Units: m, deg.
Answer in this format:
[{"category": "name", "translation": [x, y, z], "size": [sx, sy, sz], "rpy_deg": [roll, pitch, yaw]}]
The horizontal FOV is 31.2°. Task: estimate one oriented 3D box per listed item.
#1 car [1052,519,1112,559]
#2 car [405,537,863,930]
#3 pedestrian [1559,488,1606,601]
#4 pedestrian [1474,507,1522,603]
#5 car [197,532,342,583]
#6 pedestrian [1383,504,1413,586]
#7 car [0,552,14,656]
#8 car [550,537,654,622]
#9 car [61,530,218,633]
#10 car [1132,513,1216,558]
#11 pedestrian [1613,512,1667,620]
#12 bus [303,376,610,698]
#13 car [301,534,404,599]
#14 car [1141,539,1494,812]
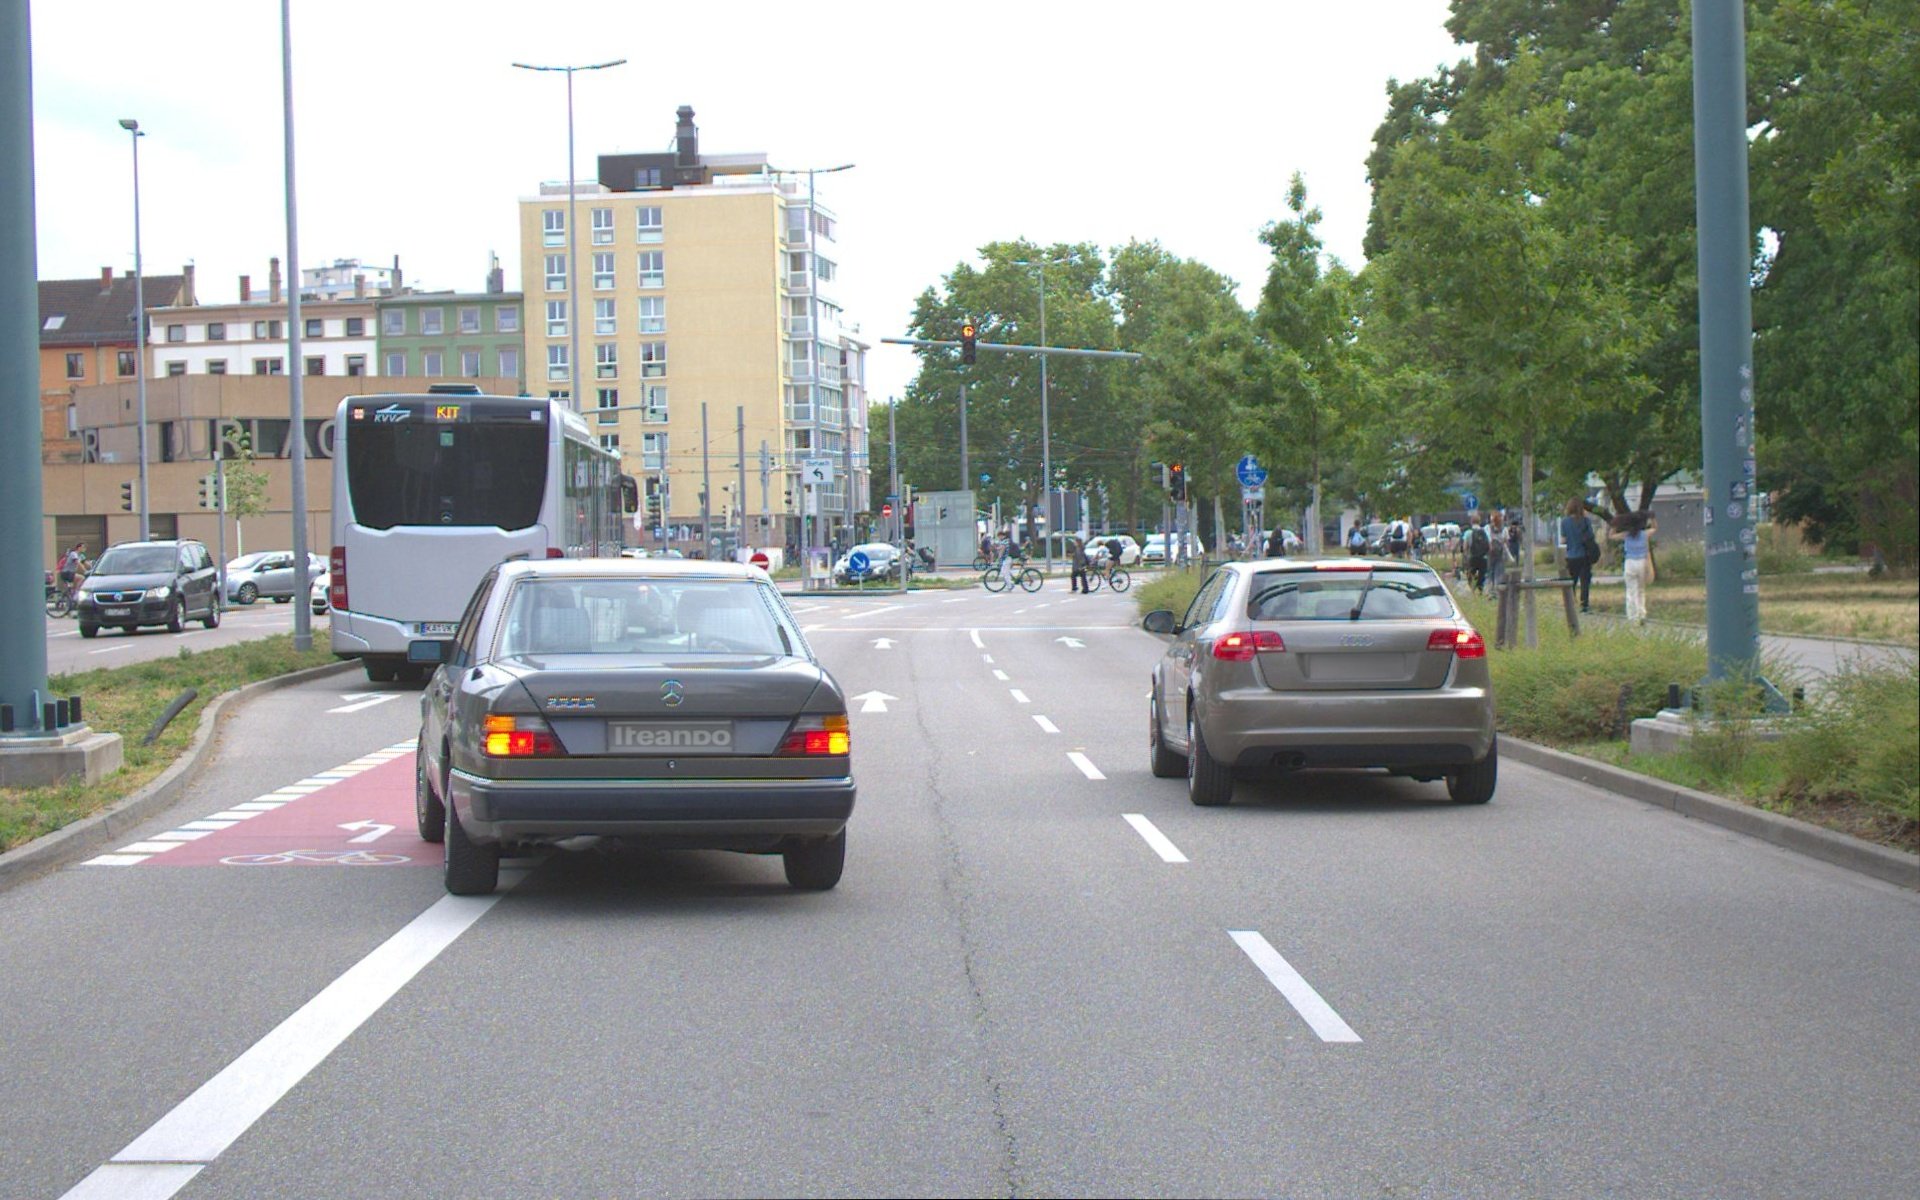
[{"category": "car", "translation": [5.354, -2.673, 150.298], "size": [1.994, 1.697, 3.998], "rpy_deg": [-1, 1, 11]}, {"category": "car", "translation": [-1.574, 0.481, 15.592], "size": [1.761, 1.484, 4.172], "rpy_deg": [-1, 1, -8]}, {"category": "pedestrian", "translation": [9.577, -0.855, 52.868], "size": [0.647, 1.707, 0.561], "rpy_deg": [-1, 1, 14]}, {"category": "pedestrian", "translation": [9.792, -0.822, 62.550], "size": [0.802, 1.707, 0.764], "rpy_deg": [-1, 1, 12]}, {"category": "car", "translation": [-19.156, -1.202, 95.503], "size": [3.674, 1.389, 1.584], "rpy_deg": [-1, 2, -43]}, {"category": "pedestrian", "translation": [10.752, -1.347, 84.394], "size": [0.614, 2.007, 0.597], "rpy_deg": [-1, 1, -3]}, {"category": "car", "translation": [-14.704, 0.113, 48.304], "size": [1.801, 1.484, 4.289], "rpy_deg": [-1, 1, -3]}, {"category": "car", "translation": [-6.234, -0.388, 60.167], "size": [1.655, 1.391, 3.861], "rpy_deg": [-1, 1, -4]}, {"category": "car", "translation": [-14.595, -0.363, 61.329], "size": [1.801, 1.660, 4.301], "rpy_deg": [-3, 1, -2]}, {"category": "car", "translation": [10.572, -3.212, 169.605], "size": [2.586, 2.102, 5.595], "rpy_deg": [-1, 1, 20]}, {"category": "pedestrian", "translation": [9.401, -0.472, 47.539], "size": [0.657, 1.465, 0.561], "rpy_deg": [-1, 1, 16]}, {"category": "bus", "translation": [-5.798, -0.772, 40.870], "size": [2.831, 3.378, 8.184], "rpy_deg": [-1, 1, -3]}, {"category": "car", "translation": [-13.824, -0.784, 78.351], "size": [1.670, 1.384, 3.923], "rpy_deg": [-2, 1, -1]}, {"category": "car", "translation": [2.083, 0.388, 20.928], "size": [1.724, 1.452, 3.736], "rpy_deg": [-1, 1, 0]}]
